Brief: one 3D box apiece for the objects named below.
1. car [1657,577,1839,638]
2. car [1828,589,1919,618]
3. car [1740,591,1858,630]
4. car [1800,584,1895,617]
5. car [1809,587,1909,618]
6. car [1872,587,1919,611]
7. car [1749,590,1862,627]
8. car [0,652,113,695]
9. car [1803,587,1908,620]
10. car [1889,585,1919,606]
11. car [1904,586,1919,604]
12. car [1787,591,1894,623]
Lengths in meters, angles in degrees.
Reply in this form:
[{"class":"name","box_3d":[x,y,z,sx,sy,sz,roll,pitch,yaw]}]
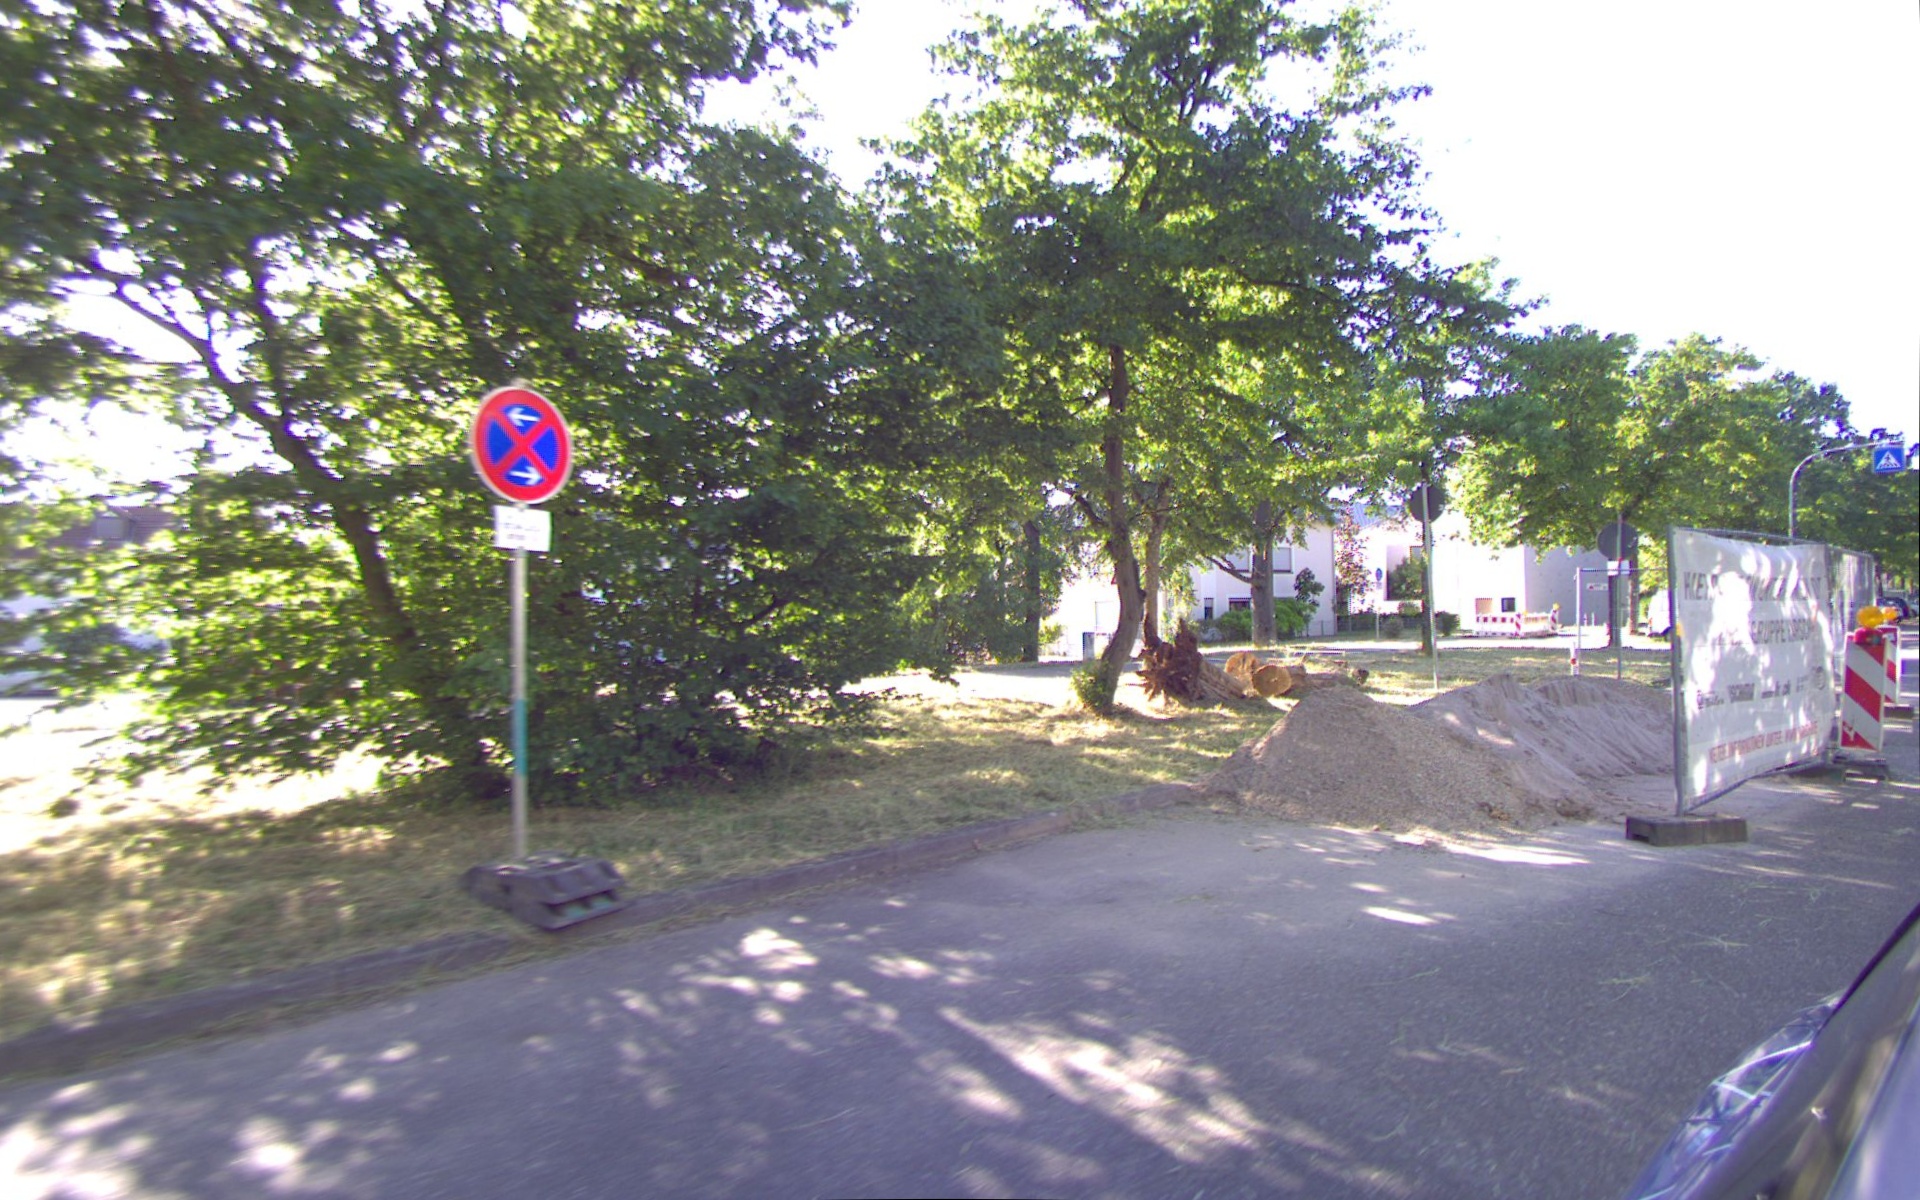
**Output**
[{"class":"car","box_3d":[28.964,0.281,37.328,1.859,2.108,5.038,0,-1,-42]},{"class":"car","box_3d":[60.606,0.219,67.113,1.506,1.765,4.391,0,-2,-40]},{"class":"car","box_3d":[39.338,0.505,47.533,1.506,1.701,4.015,0,-2,-40]},{"class":"car","box_3d":[57.183,0.050,65.262,1.506,2.014,4.391,0,-2,-40]},{"class":"car","box_3d":[55.306,0.190,62.337,1.506,1.765,4.391,0,-2,-40]},{"class":"car","box_3d":[76.975,-0.069,82.224,1.831,1.873,3.991,0,-2,-42]},{"class":"car","box_3d":[41.426,0.451,49.638,1.506,1.681,4.015,0,-2,-40]},{"class":"car","box_3d":[-38.636,3.095,43.047,3.566,1.637,1.813,-1,-2,-8]},{"class":"car","box_3d":[52.570,0.222,59.485,1.506,1.765,4.391,0,-2,-40]},{"class":"car","box_3d":[91.700,-0.483,96.655,1.916,1.873,4.146,0,-2,-42]},{"class":"car","box_3d":[103.394,-0.581,107.670,1.916,1.873,4.146,0,-2,-42]},{"class":"car","box_3d":[50.158,0.398,57.709,1.506,1.663,4.391,0,-2,-40]}]
